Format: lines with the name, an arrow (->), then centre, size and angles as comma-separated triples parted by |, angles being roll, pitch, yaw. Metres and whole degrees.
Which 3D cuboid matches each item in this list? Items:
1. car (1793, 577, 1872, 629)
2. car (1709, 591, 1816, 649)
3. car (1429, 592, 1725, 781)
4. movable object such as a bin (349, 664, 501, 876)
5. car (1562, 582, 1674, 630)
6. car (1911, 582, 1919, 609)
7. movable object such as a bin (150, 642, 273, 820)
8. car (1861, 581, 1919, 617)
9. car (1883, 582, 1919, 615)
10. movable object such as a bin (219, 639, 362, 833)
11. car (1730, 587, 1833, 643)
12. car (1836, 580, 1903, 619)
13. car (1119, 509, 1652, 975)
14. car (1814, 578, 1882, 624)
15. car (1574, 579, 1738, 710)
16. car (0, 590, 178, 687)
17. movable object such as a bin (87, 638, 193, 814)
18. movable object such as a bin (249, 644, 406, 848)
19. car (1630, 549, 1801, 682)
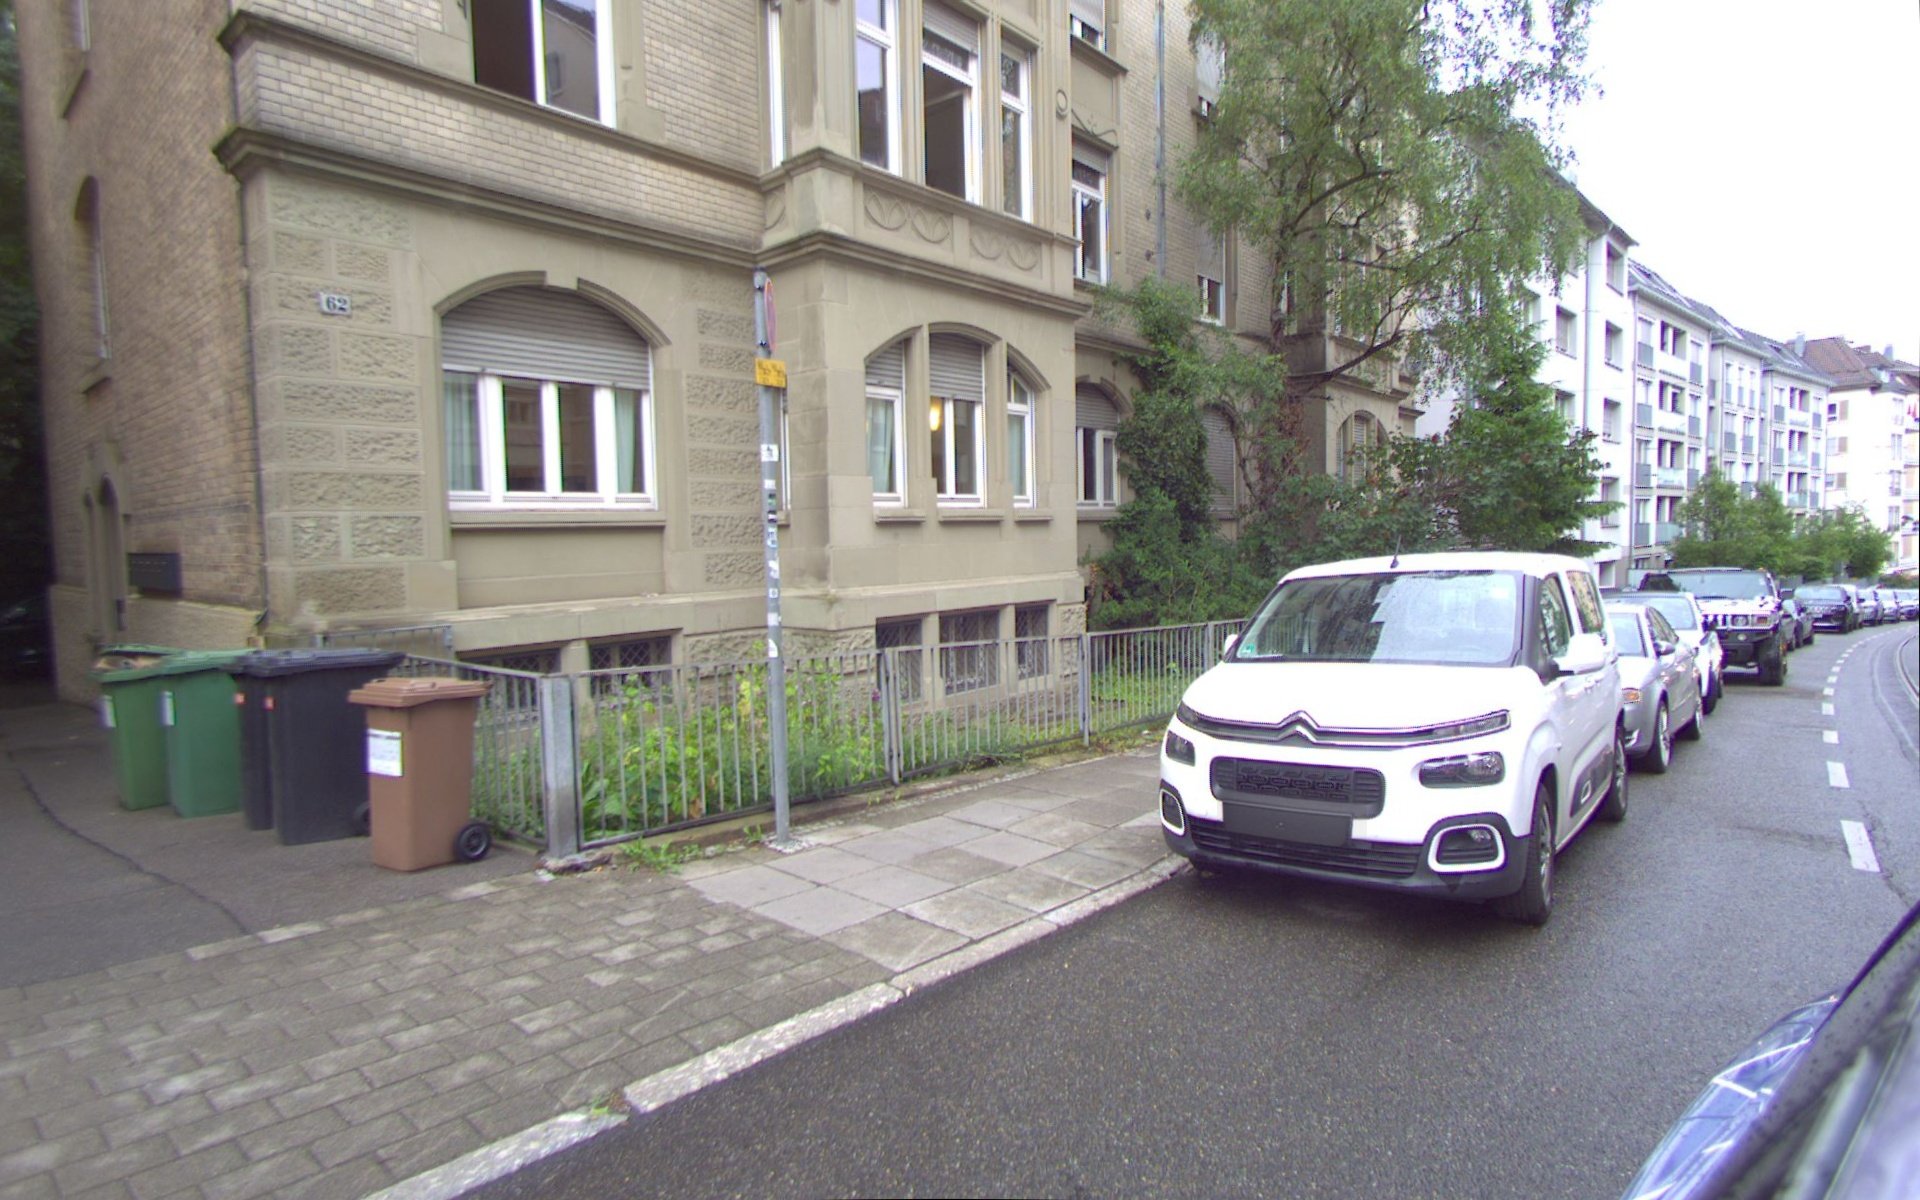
car -> 33.063, 0.050, 38.314 | 1.943, 1.817, 4.743 | 1, 2, 45
car -> 20.396, 0.451, 25.670 | 3.819, 1.355, 1.679 | -1, 1, -44
car -> 6.247, 0.654, 9.994 | 1.747, 1.418, 4.411 | -1, 0, 41
movable object such as a bin -> -2.676, 0.819, 5.076 | 0.425, 0.931, 0.529 | 3, 2, 38
car -> 20.900, 0.166, 32.104 | 4.079, 1.444, 1.816 | -1, 0, -39
car -> 57.162, -0.291, 59.070 | 4.704, 1.534, 1.862 | -1, 2, -40
movable object such as a bin -> -4.927, 0.831, 6.660 | 0.495, 1.075, 0.547 | -3, -1, 41
car -> 45.571, -0.105, 49.550 | 4.587, 1.648, 1.834 | -1, 2, -44
car -> 49.807, -0.100, 53.083 | 1.975, 1.604, 4.495 | 1, 2, 43
movable object such as a bin -> -4.077, 0.793, 6.166 | 0.498, 1.075, 0.600 | -3, -1, 41
car -> 23.536, 0.365, 28.931 | 4.535, 1.455, 1.795 | -1, 1, -45
car -> 41.430, -0.065, 46.053 | 4.608, 1.676, 1.834 | -1, 2, -43
car -> 2.885, 0.525, 6.170 | 1.795, 1.787, 4.399 | -1, 0, 40
car -> 36.726, 0.002, 41.829 | 4.398, 1.817, 1.780 | -1, 2, -44
car -> 9.678, 0.521, 13.968 | 1.557, 1.565, 3.533 | -1, 0, 40
car -> -17.195, 0.684, 18.808 | 3.933, 1.529, 1.796 | 7, -1, -45
movable object such as a bin -> -5.604, 0.833, 6.918 | 0.518, 1.116, 0.471 | -3, -1, 42
movable object such as a bin -> -3.599, 0.788, 5.762 | 0.653, 1.043, 0.528 | -1, -1, -43
car -> 13.765, 0.214, 18.286 | 2.126, 2.039, 5.272 | -1, 0, 40
